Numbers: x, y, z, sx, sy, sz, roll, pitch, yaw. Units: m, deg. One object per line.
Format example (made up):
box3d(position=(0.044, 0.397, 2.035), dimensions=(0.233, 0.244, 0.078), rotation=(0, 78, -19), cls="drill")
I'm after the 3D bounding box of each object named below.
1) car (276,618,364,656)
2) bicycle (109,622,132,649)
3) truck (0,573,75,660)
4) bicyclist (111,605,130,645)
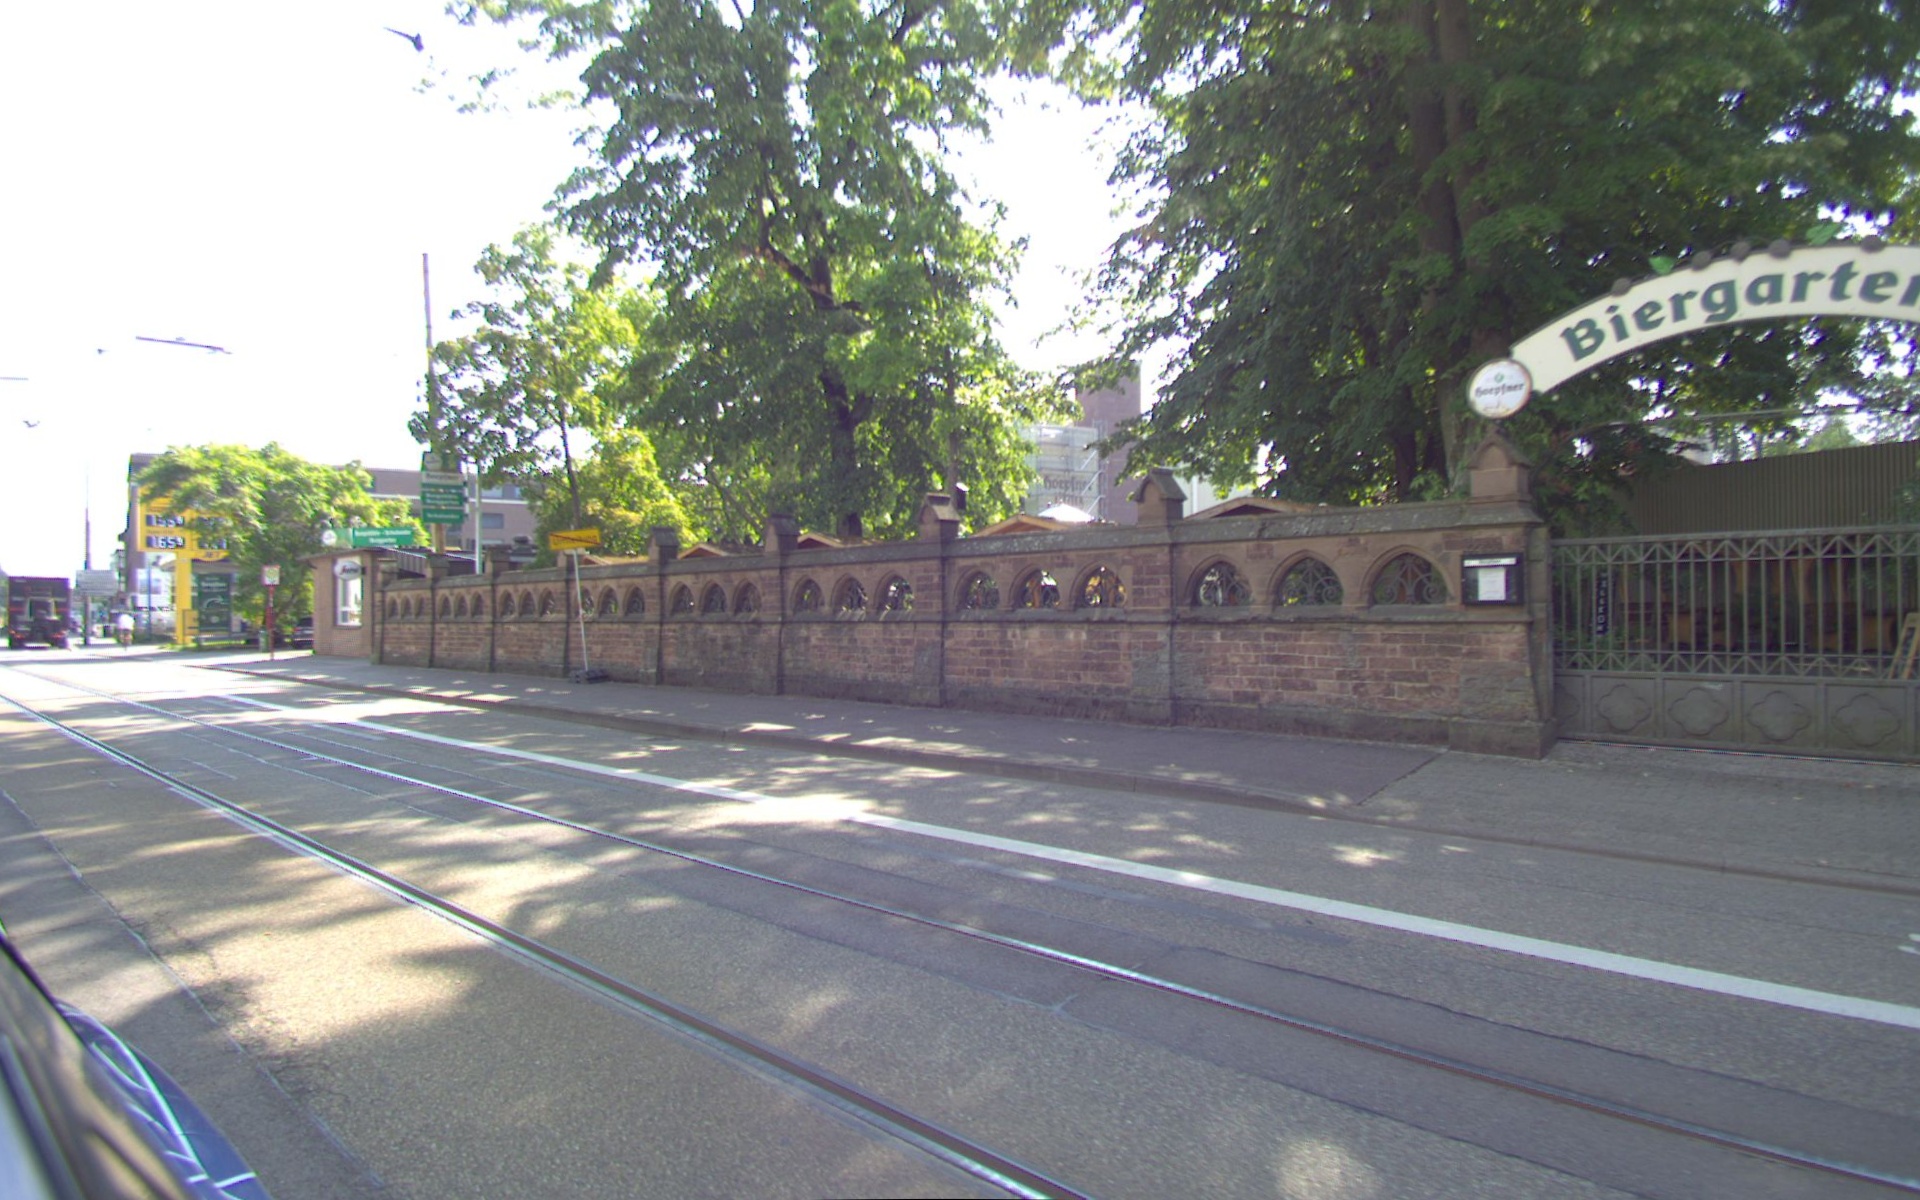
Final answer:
box3d(position=(-27.548, 1.546, 43.747), dimensions=(1.905, 1.472, 4.540), rotation=(-1, 0, -14), cls="car")
box3d(position=(-41.016, 1.715, 49.445), dimensions=(0.775, 1.249, 2.038), rotation=(0, 0, -37), cls="bicycle")
box3d(position=(-53.700, 0.955, 58.847), dimensions=(3.126, 4.487, 16.860), rotation=(-1, 0, -42), cls="truck")
box3d(position=(-41.103, 1.210, 49.531), dimensions=(0.632, 1.944, 1.178), rotation=(-1, 0, -36), cls="bicyclist")
